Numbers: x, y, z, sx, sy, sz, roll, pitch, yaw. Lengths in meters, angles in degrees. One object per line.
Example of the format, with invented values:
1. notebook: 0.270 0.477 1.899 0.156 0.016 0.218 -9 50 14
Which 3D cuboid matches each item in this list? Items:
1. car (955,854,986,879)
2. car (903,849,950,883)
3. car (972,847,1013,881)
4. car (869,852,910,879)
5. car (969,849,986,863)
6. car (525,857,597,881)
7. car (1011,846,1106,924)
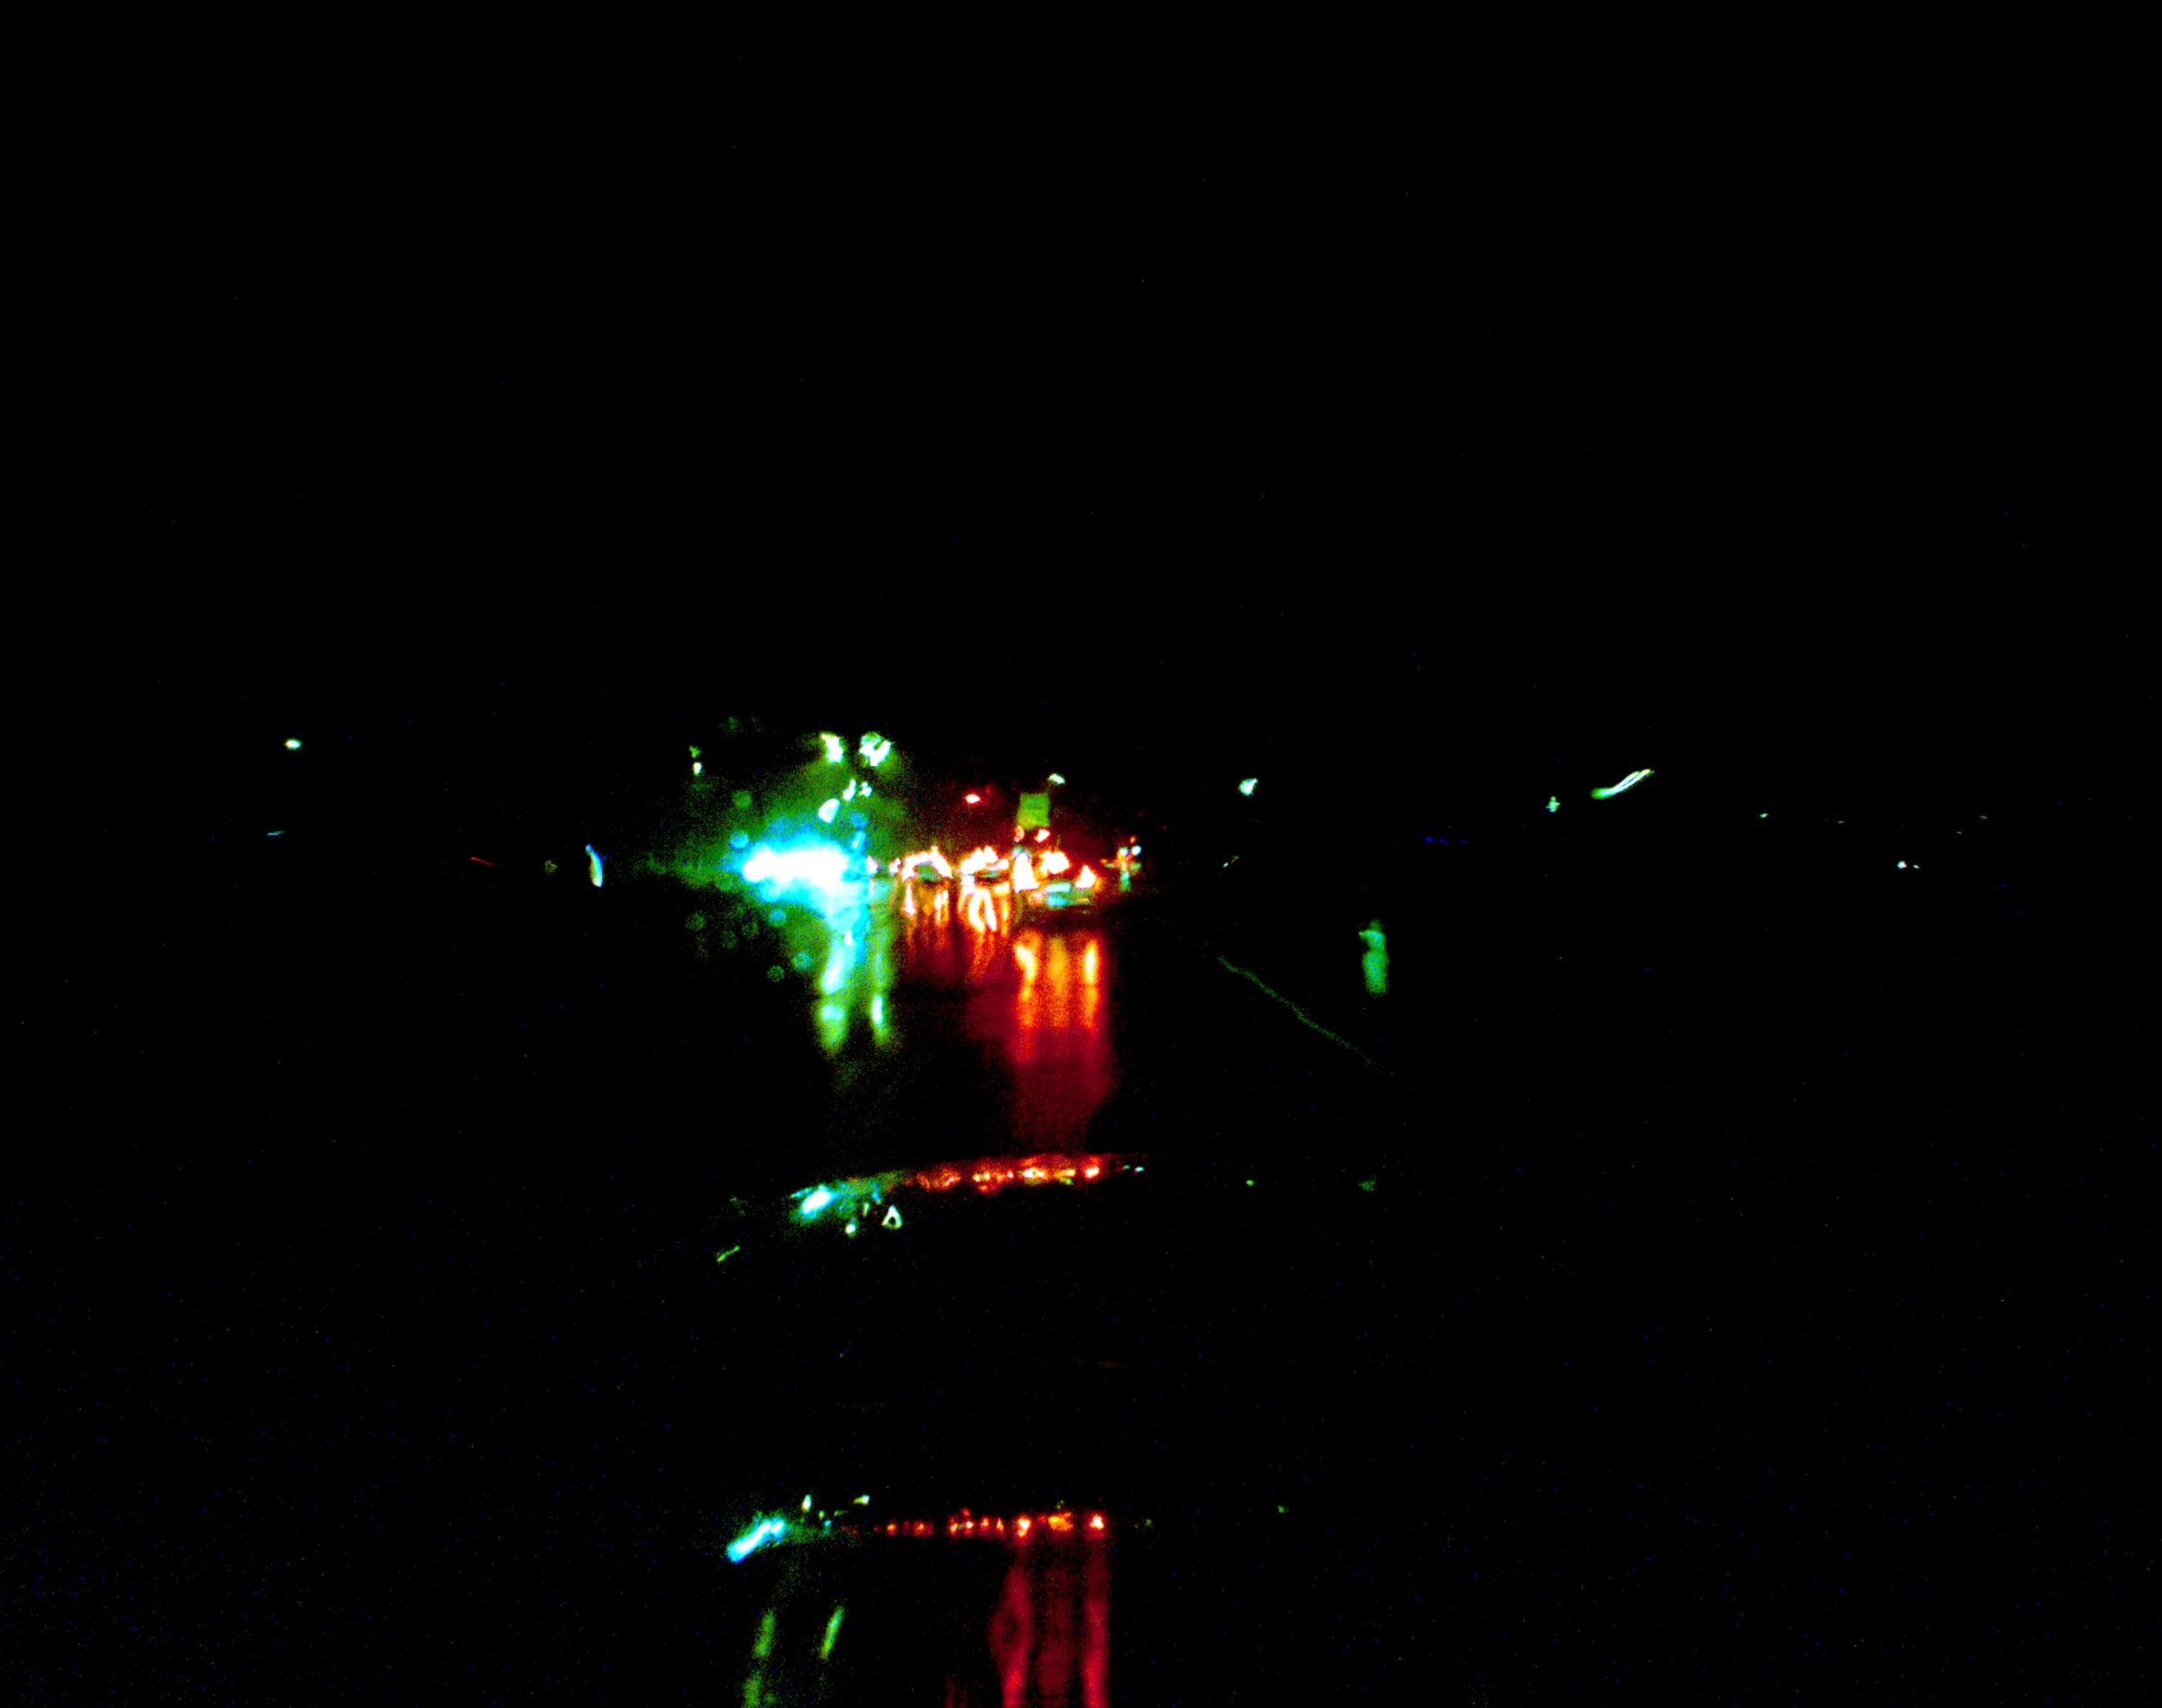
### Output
1. car: -7.998 0.866 59.360 1.991 1.628 4.975 -3 1 -6
2. car: -8.311 0.615 44.317 1.991 1.628 4.975 -3 1 -6
3. car: -4.750 0.470 43.887 1.991 1.628 4.975 -3 1 -6
4. car: -12.951 0.714 55.323 1.991 1.628 4.975 -3 1 -6
5. car: -13.432 0.224 105.244 1.992 1.628 4.970 -3 1 -8
6. car: -37.999 1.074 59.604 4.300 1.628 1.981 0 0 -29
7. car: -0.490 0.697 19.532 1.987 1.628 4.982 0 -1 -1
